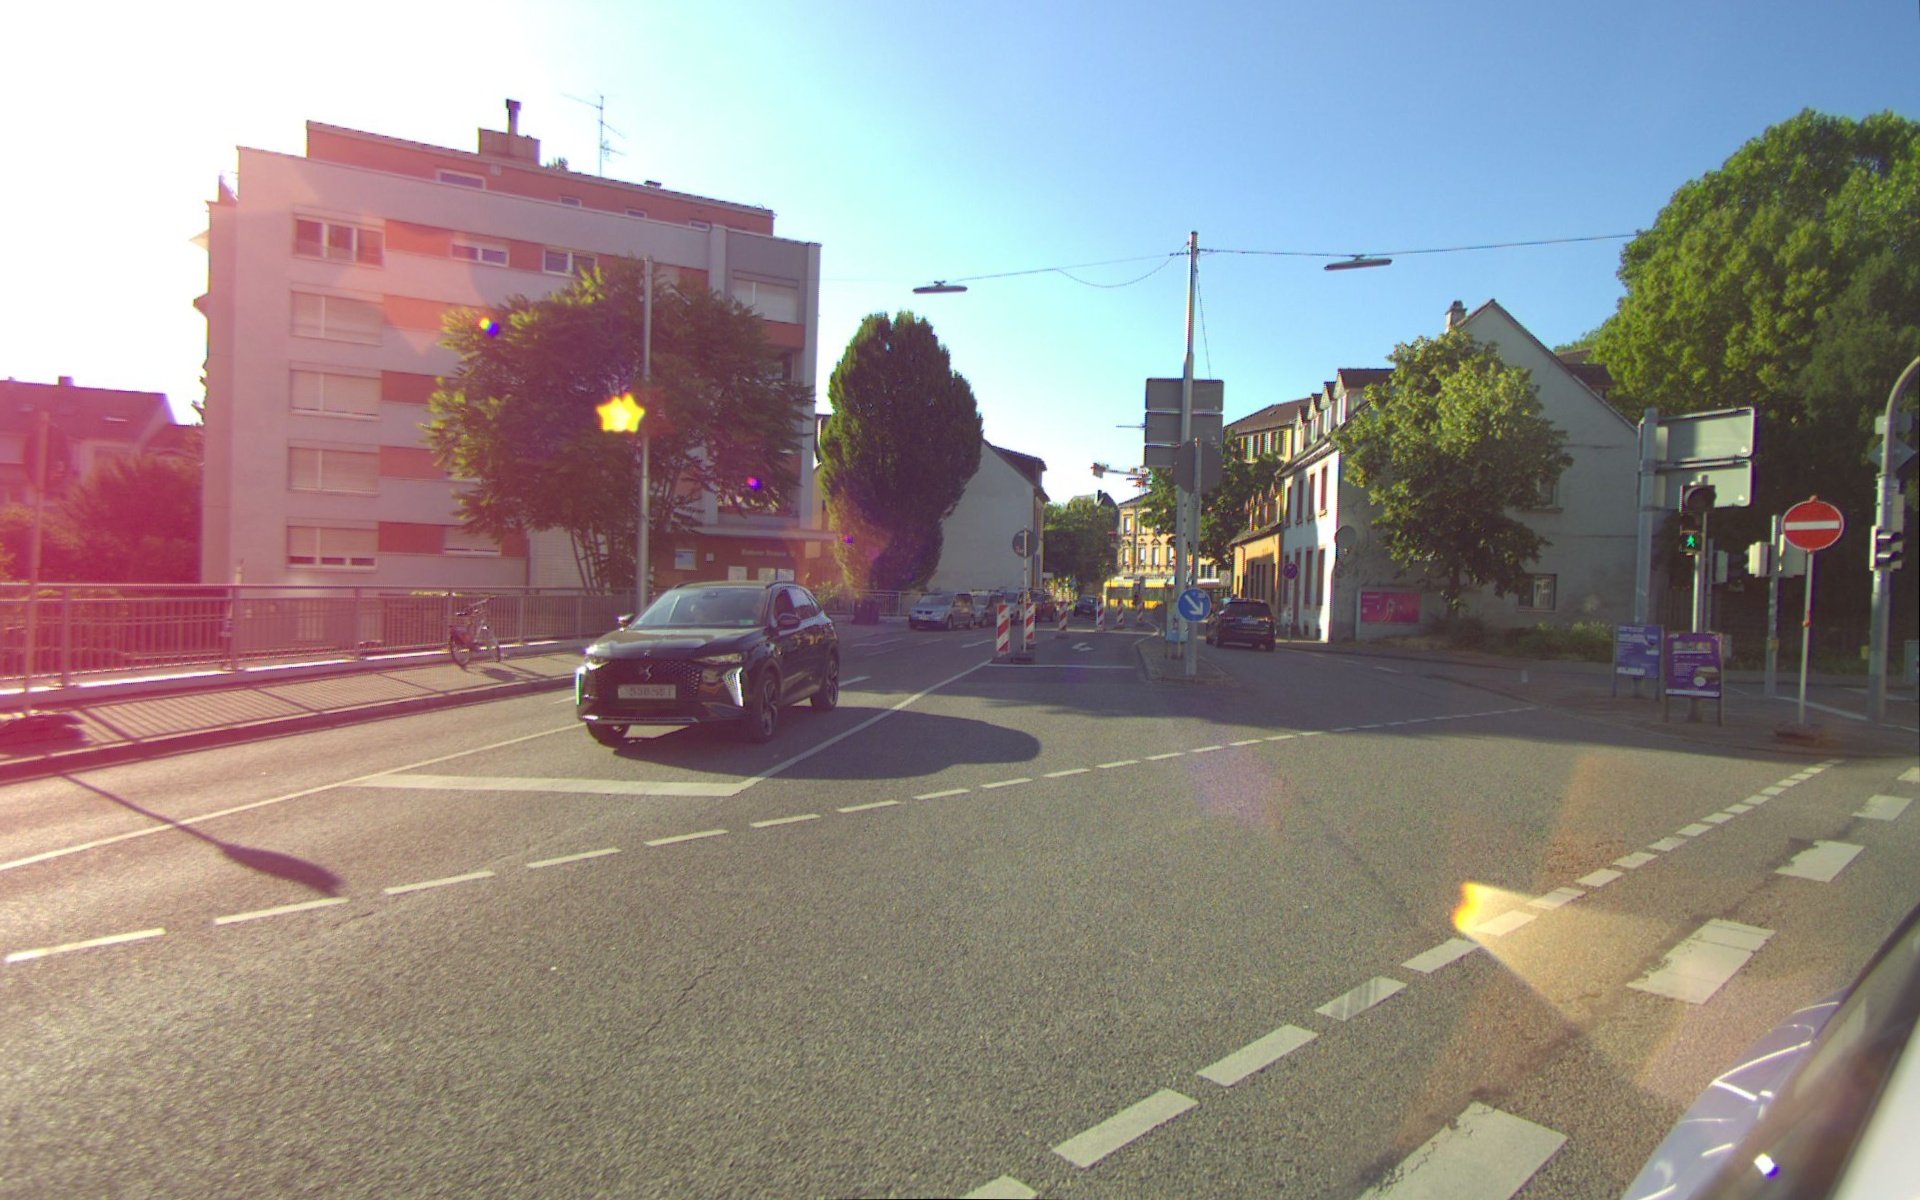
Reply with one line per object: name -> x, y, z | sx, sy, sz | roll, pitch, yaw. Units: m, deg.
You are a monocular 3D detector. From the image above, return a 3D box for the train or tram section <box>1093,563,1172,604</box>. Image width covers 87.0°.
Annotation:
train or tram section -> 16.309, -1.532, 96.719 | 2.788, 3.647, 9.885 | 1, 0, -21

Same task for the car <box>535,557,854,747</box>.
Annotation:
car -> -2.665, 0.461, 11.471 | 1.965, 1.691, 4.656 | -1, 0, 6

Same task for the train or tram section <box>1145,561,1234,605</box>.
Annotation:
train or tram section -> 19.732, -1.437, 87.823 | 2.739, 3.564, 9.286 | 1, 0, -21

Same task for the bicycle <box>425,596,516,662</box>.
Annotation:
bicycle -> -8.530, 0.488, 17.729 | 0.604, 1.082, 1.922 | 1, 0, 2

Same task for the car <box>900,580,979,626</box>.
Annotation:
car -> -0.775, 0.134, 42.254 | 1.974, 1.803, 4.202 | 1, 0, 19

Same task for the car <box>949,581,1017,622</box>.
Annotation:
car -> 1.113, 0.087, 46.927 | 1.974, 1.803, 4.202 | 1, 0, 19

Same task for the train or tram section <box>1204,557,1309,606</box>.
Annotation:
train or tram section -> 23.005, -1.384, 79.197 | 2.739, 3.564, 9.287 | 1, 0, -21

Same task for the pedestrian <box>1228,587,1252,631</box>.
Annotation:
pedestrian -> 12.053, 0.389, 43.553 | 0.944, 1.861, 1.284 | 1, -1, 14

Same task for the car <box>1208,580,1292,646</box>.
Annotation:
car -> 9.251, 0.383, 32.609 | 1.968, 1.838, 4.240 | 5, 1, 9
